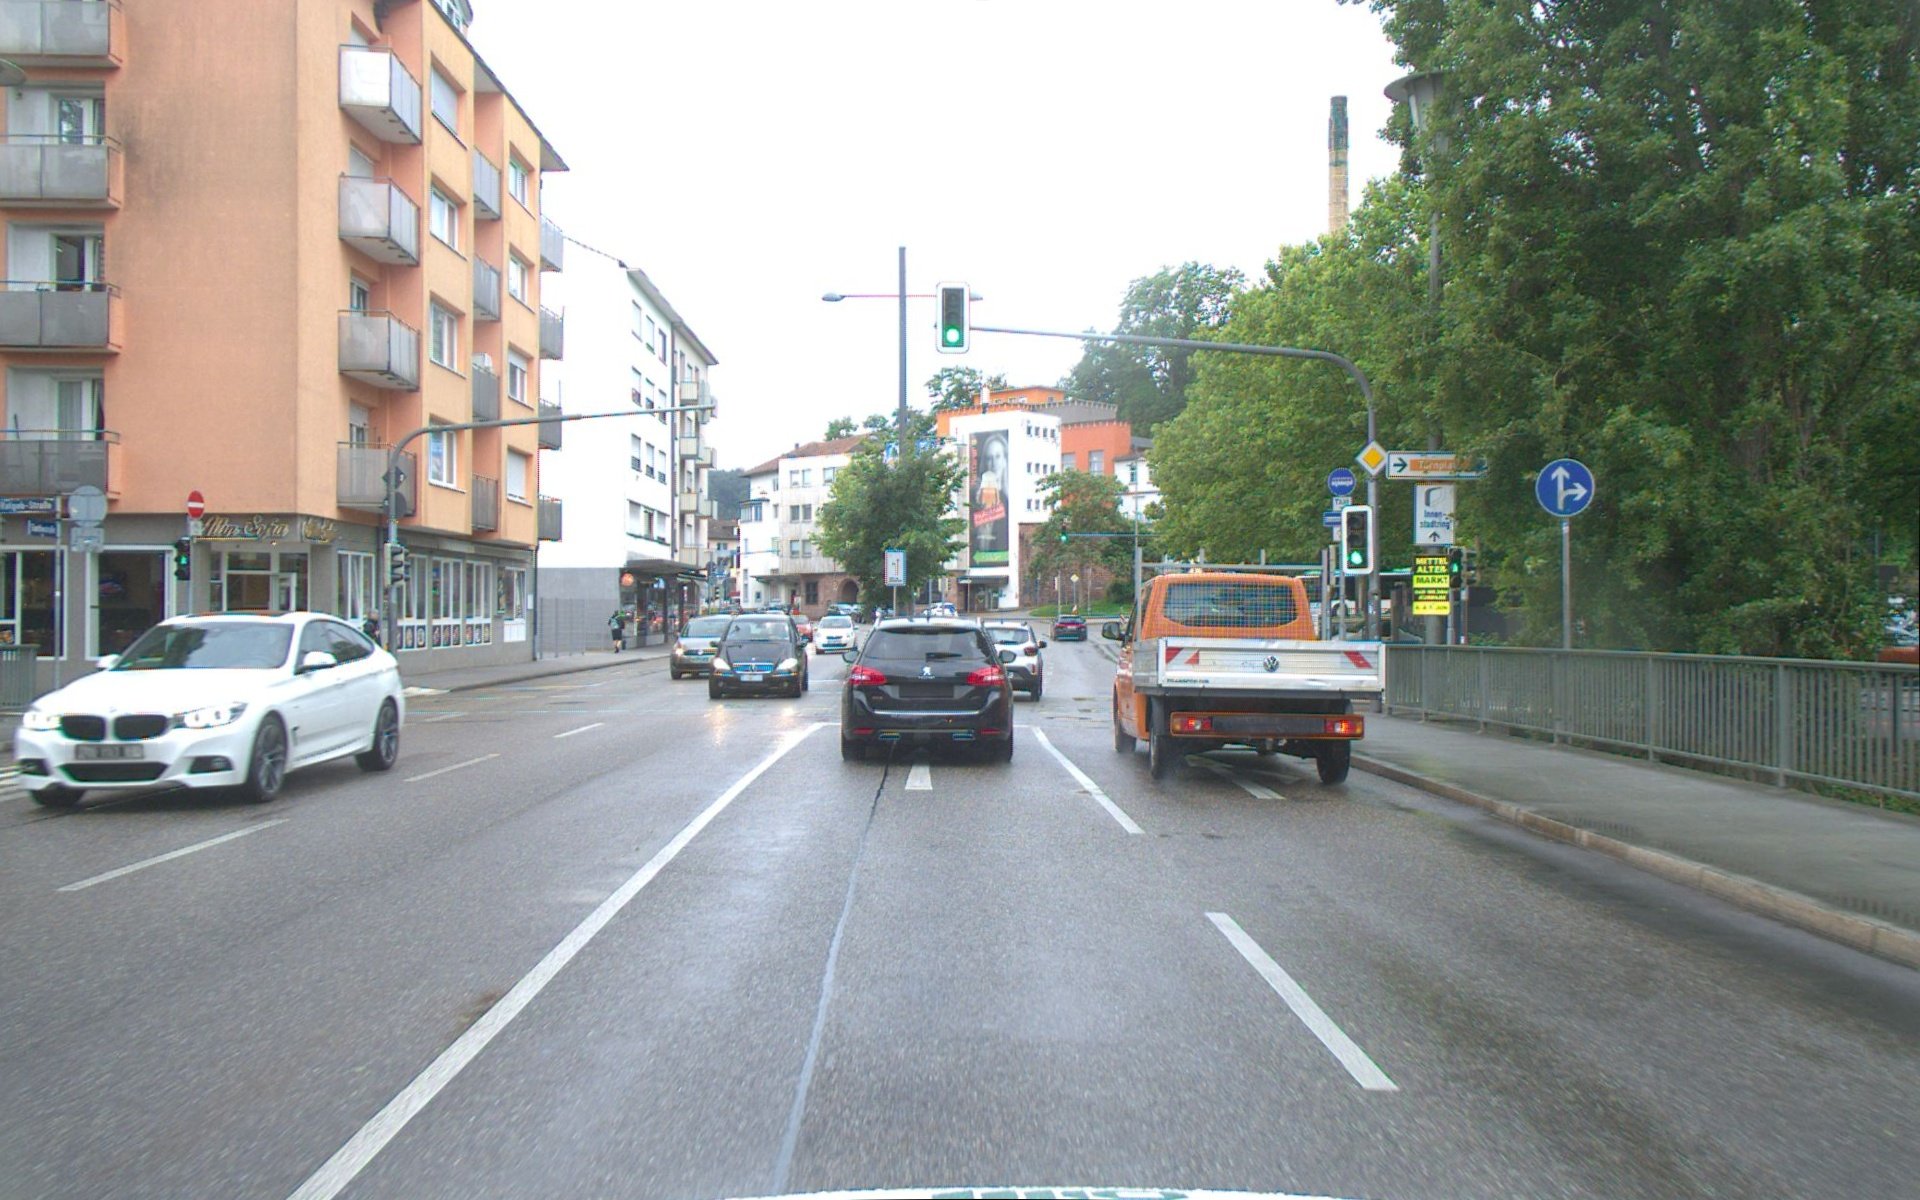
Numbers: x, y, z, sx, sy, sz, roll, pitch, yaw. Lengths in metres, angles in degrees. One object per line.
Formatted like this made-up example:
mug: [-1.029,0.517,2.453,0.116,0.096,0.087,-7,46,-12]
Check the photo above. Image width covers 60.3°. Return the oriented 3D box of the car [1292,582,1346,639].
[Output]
car: [19.606,0.575,90.455,2.030,3.023,4.227,1,-1,0]

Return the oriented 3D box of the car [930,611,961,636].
car: [-1.087,1.746,124.016,1.955,1.853,3.995,1,0,-6]

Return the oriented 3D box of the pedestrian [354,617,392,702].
pedestrian: [-12.238,1.233,34.492,0.519,1.757,0.649,0,-1,2]

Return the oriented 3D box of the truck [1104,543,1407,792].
truck: [2.719,0.581,16.415,2.078,2.061,4.715,2,0,-1]

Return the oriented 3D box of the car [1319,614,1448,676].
car: [14.421,1.524,56.473,3.904,1.958,1.970,2,-1,2]

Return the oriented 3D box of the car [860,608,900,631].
car: [-5.907,1.448,121.524,1.624,1.592,3.570,4,-3,-25]

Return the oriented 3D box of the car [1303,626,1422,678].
car: [14.765,1.892,60.866,3.904,1.678,1.918,3,0,2]

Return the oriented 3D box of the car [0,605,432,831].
car: [-6.210,0.859,14.310,1.798,1.536,4.820,0,1,-1]

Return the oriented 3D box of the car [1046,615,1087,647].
car: [5.842,1.730,91.118,1.613,1.592,3.595,3,-3,-5]

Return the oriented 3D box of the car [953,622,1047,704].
car: [0.821,1.217,33.232,1.757,1.509,4.001,0,-1,2]

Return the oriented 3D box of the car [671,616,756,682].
car: [-6.341,1.230,42.906,1.701,1.629,3.918,0,0,-1]

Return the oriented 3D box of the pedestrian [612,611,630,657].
pedestrian: [-14.090,1.426,68.747,0.626,1.893,0.523,1,-1,-3]

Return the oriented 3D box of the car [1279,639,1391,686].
car: [14.441,2.399,63.822,3.904,1.535,1.743,3,0,2]

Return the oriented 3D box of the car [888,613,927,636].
car: [-3.991,1.847,125.093,1.624,1.592,3.570,4,-3,-25]

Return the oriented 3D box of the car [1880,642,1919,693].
car: [33.063,2.288,55.919,1.781,1.680,4.001,1,-1,2]

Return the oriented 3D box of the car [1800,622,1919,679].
car: [27.563,1.480,49.430,4.040,1.649,1.804,0,-1,-5]

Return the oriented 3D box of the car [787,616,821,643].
car: [-8.670,1.643,91.981,1.631,1.424,3.875,-1,0,-2]

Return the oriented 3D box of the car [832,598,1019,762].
car: [-0.270,0.806,17.834,1.758,1.509,4.000,2,-1,2]

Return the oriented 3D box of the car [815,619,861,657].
car: [-4.964,1.545,67.755,1.620,1.475,3.542,-1,-1,-1]

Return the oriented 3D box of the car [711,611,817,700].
car: [-3.888,1.065,33.315,1.701,1.629,3.918,-1,0,-1]

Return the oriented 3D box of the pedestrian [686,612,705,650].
pedestrian: [-14.464,1.708,90.348,0.720,2.049,0.650,5,-4,-34]

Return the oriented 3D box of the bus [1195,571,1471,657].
bus: [24.630,0.924,109.795,17.546,5.303,3.099,1,-1,2]
